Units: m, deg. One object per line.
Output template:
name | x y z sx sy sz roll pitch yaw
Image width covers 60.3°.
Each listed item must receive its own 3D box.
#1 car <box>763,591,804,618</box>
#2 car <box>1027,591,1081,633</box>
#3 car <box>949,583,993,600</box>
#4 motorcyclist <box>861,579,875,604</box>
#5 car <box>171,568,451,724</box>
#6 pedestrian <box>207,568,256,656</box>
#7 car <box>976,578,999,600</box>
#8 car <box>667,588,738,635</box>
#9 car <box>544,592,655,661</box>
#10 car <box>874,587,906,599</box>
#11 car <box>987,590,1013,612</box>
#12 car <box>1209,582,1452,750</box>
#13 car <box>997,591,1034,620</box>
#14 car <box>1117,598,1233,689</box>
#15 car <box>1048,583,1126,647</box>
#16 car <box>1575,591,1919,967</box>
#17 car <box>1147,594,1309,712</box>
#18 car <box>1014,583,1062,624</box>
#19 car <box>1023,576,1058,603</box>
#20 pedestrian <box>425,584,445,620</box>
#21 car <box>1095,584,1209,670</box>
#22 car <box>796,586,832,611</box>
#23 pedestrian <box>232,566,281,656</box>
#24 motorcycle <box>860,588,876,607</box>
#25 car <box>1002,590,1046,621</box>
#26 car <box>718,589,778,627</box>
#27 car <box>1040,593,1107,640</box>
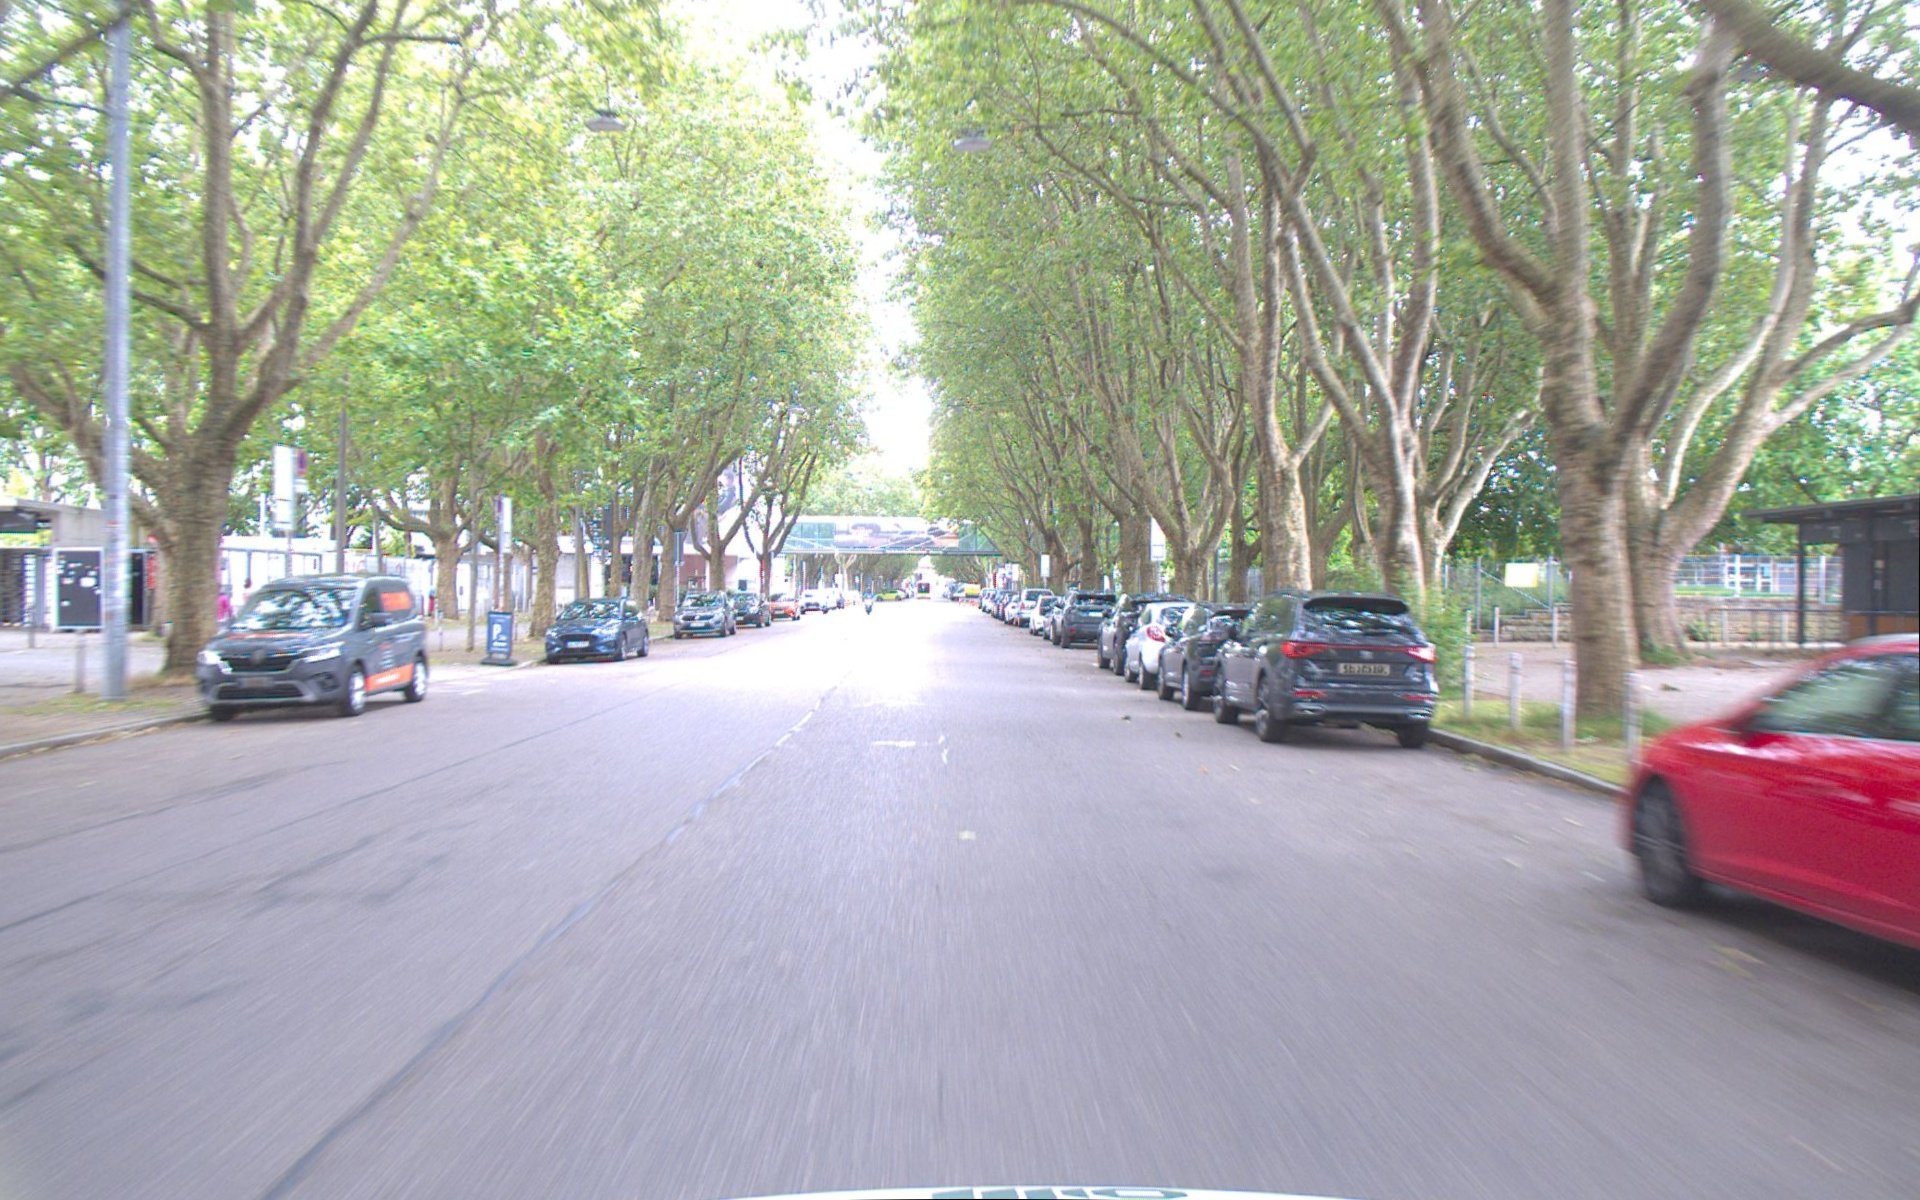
car | -9.220 0.223 86.659 1.771 1.378 4.000 0 0 -1
car | 3.453 0.429 61.264 1.673 1.452 3.888 2 0 -1
car | 1.658 -1.353 254.686 6.687 2.557 2.315 0 0 -3
motorcyclist | -5.611 -0.544 101.001 0.853 1.506 1.264 0 0 -4
car | -8.309 0.525 21.696 1.909 1.781 4.637 -1 0 -1
pedestrian | -14.893 0.232 33.825 0.562 1.772 0.768 0 0 14
car | 2.391 -0.948 144.397 1.810 1.814 5.210 2 0 -1
car | -8.814 0.358 56.893 1.840 1.553 4.150 -1 0 -1
car | -8.498 0.578 39.327 1.689 1.512 4.574 0 0 -1
car | -10.358 -1.013 244.470 4.604 1.612 1.864 1 0 0
car | 2.872 0.082 119.953 1.771 1.553 4.095 1 0 -1
car | 4.128 0.663 19.137 1.720 1.648 4.438 2 0 -1
car | 3.048 0.289 91.895 1.819 1.507 4.176 1 0 -1
car | 3.855 0.743 30.192 1.583 1.466 3.710 2 0 0
car | 3.668 0.398 48.467 1.673 1.728 4.629 2 0 -2
car | 4.589 0.741 7.272 1.683 1.463 4.624 2 0 -5
car | 3.903 0.710 24.753 1.634 1.535 4.353 2 0 -1
car | 3.494 0.155 75.067 1.864 1.769 4.505 1 0 -1
car | 4.814 -0.624 99.482 1.766 1.583 3.999 0 1 -2
pedestrian | -23.108 0.101 72.857 0.654 1.571 0.660 1 0 0
car | 4.016 0.535 35.296 1.741 1.702 4.636 1 0 -2
car | -9.774 -0.101 110.788 2.031 1.590 4.755 0 0 -1
pedestrian | -14.316 0.217 33.665 0.564 1.801 0.768 0 0 14
motorcycle | -5.624 -0.156 101.008 0.856 1.098 3.050 0 0 -4
car | 3.092 0.254 80.678 1.839 1.452 4.584 1 0 -2
car | -8.783 0.325 68.739 1.789 1.491 4.628 -1 0 1
car | 3.678 0.511 54.316 1.673 1.440 4.358 1 0 -3
